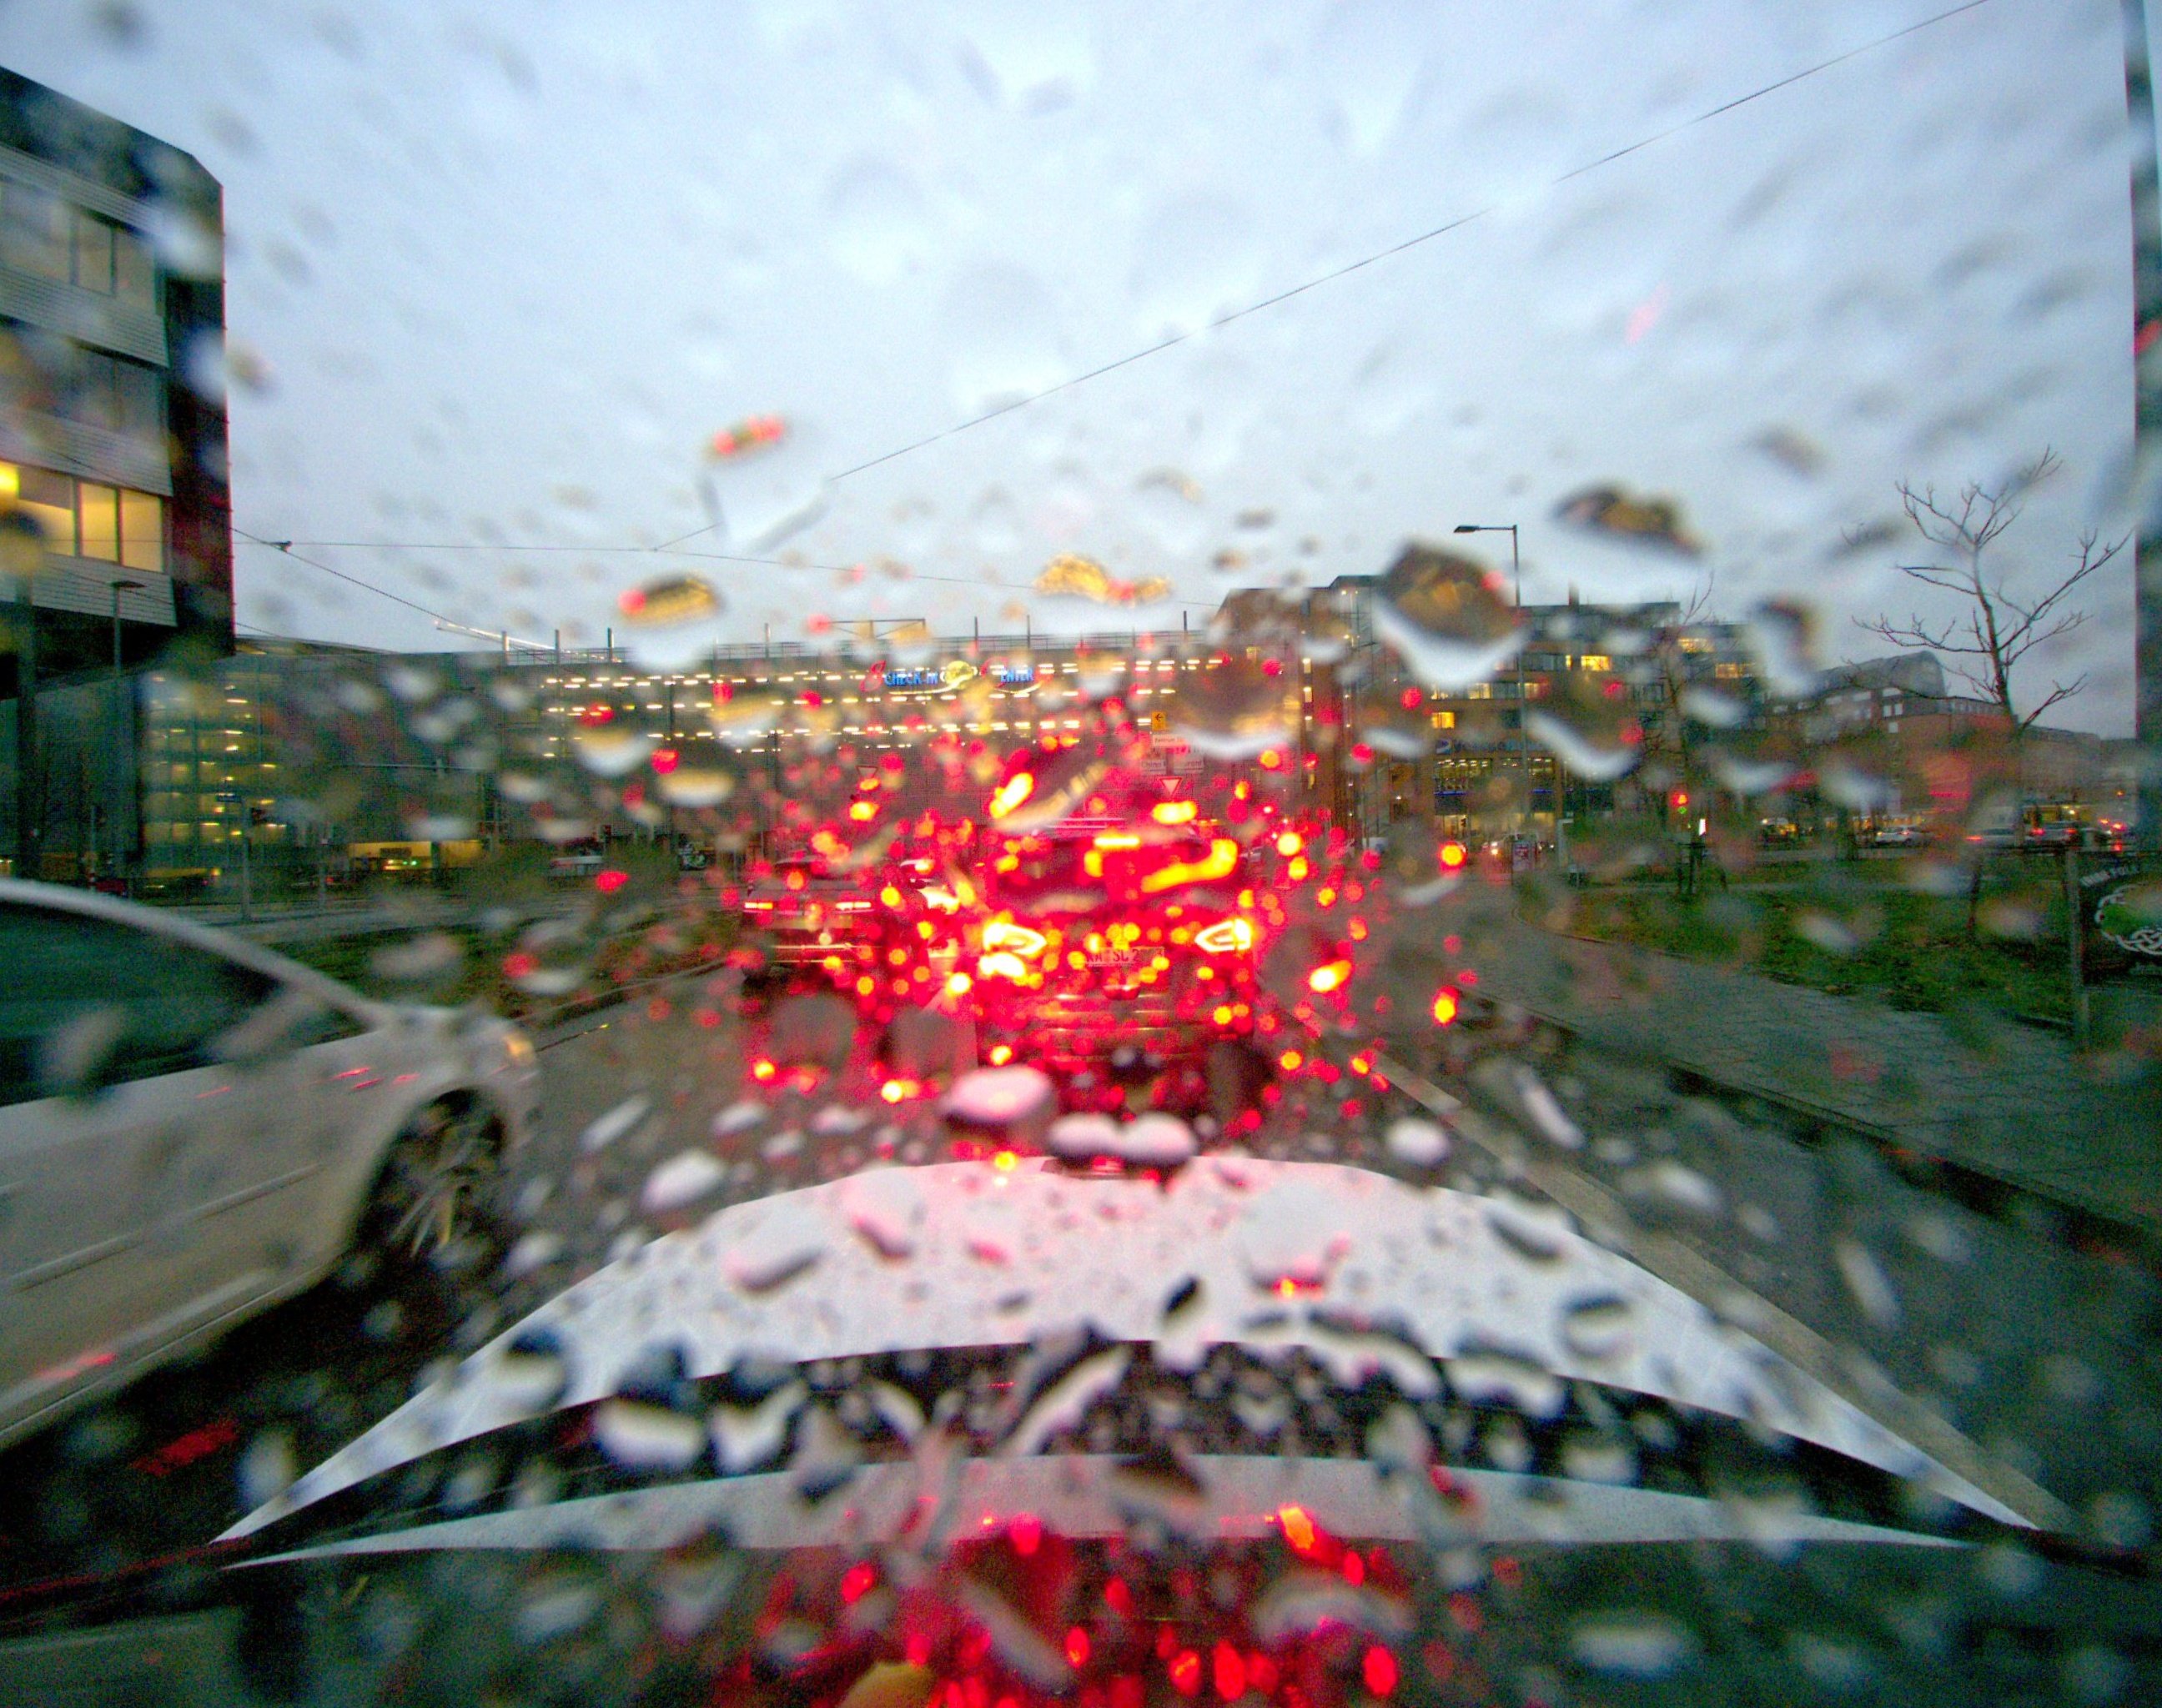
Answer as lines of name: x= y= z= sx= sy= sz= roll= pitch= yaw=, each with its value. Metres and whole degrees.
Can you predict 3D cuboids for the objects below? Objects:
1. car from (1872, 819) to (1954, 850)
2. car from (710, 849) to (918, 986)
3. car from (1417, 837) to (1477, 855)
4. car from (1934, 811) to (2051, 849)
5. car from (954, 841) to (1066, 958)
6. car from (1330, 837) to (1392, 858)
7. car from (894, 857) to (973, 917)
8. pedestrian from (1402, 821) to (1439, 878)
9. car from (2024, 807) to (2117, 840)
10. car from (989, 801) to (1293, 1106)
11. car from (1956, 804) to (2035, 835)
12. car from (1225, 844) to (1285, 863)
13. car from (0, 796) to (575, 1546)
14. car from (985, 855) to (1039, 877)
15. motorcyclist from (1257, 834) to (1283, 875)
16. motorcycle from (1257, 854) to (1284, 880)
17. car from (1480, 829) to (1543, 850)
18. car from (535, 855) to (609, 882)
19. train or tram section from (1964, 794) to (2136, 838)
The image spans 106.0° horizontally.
car: x=56.646 y=-1.316 z=55.483 sx=3.985 sy=2.013 sz=1.994 roll=0 pitch=0 yaw=-9
car: x=-3.571 y=0.751 z=11.692 sx=1.748 sy=1.574 sz=3.997 roll=-2 pitch=0 yaw=-2
car: x=30.423 y=-0.672 z=67.822 sx=4.209 sy=1.390 sz=1.796 roll=-2 pitch=0 yaw=-6
car: x=49.085 y=-1.269 z=43.889 sx=4.663 sy=1.851 sz=1.827 roll=-2 pitch=-1 yaw=-7
car: x=-1.117 y=0.676 z=13.867 sx=1.632 sy=1.697 sz=3.667 roll=-1 pitch=0 yaw=-3
car: x=22.860 y=-0.545 z=66.574 sx=4.413 sy=1.595 sz=1.796 roll=-2 pitch=0 yaw=-6
car: x=-3.477 y=0.720 z=19.736 sx=1.538 sy=1.251 sz=4.059 roll=-1 pitch=0 yaw=-6
pedestrian: x=11.853 y=-0.166 z=28.412 sx=1.159 sy=1.924 sz=0.904 roll=1 pitch=0 yaw=25
car: x=61.861 y=-1.891 z=50.934 sx=3.987 sy=1.874 sz=1.994 roll=-3 pitch=1 yaw=-10
car: x=0.338 y=0.566 z=6.800 sx=1.730 sy=1.738 sz=4.246 roll=1 pitch=0 yaw=0
car: x=64.420 y=-2.410 z=57.352 sx=4.948 sy=2.013 sz=1.987 roll=0 pitch=0 yaw=-20
car: x=14.101 y=-0.059 z=66.245 sx=4.413 sy=1.390 sz=1.796 roll=-2 pitch=0 yaw=-6
car: x=-3.220 y=0.694 z=1.676 sx=1.664 sy=1.660 sz=4.149 roll=1 pitch=0 yaw=1
car: x=-5.749 y=0.988 z=68.088 sx=4.413 sy=1.595 sz=1.796 roll=-2 pitch=0 yaw=-6
motorcyclist: x=7.335 y=0.007 z=31.642 sx=0.863 sy=1.534 sz=1.110 roll=-2 pitch=0 yaw=7
motorcycle: x=7.343 y=0.488 z=31.625 sx=0.848 sy=0.972 sz=1.585 roll=-2 pitch=0 yaw=7
car: x=36.357 y=-1.215 z=68.800 sx=4.425 sy=1.534 sz=1.796 roll=-2 pitch=0 yaw=-6
car: x=-41.866 y=1.182 z=67.064 sx=4.831 sy=2.000 sz=1.797 roll=-2 pitch=0 yaw=-5
train or tram section: x=83.116 y=-3.260 z=69.788 sx=16.626 sy=3.260 sz=2.326 roll=-2 pitch=0 yaw=-14
